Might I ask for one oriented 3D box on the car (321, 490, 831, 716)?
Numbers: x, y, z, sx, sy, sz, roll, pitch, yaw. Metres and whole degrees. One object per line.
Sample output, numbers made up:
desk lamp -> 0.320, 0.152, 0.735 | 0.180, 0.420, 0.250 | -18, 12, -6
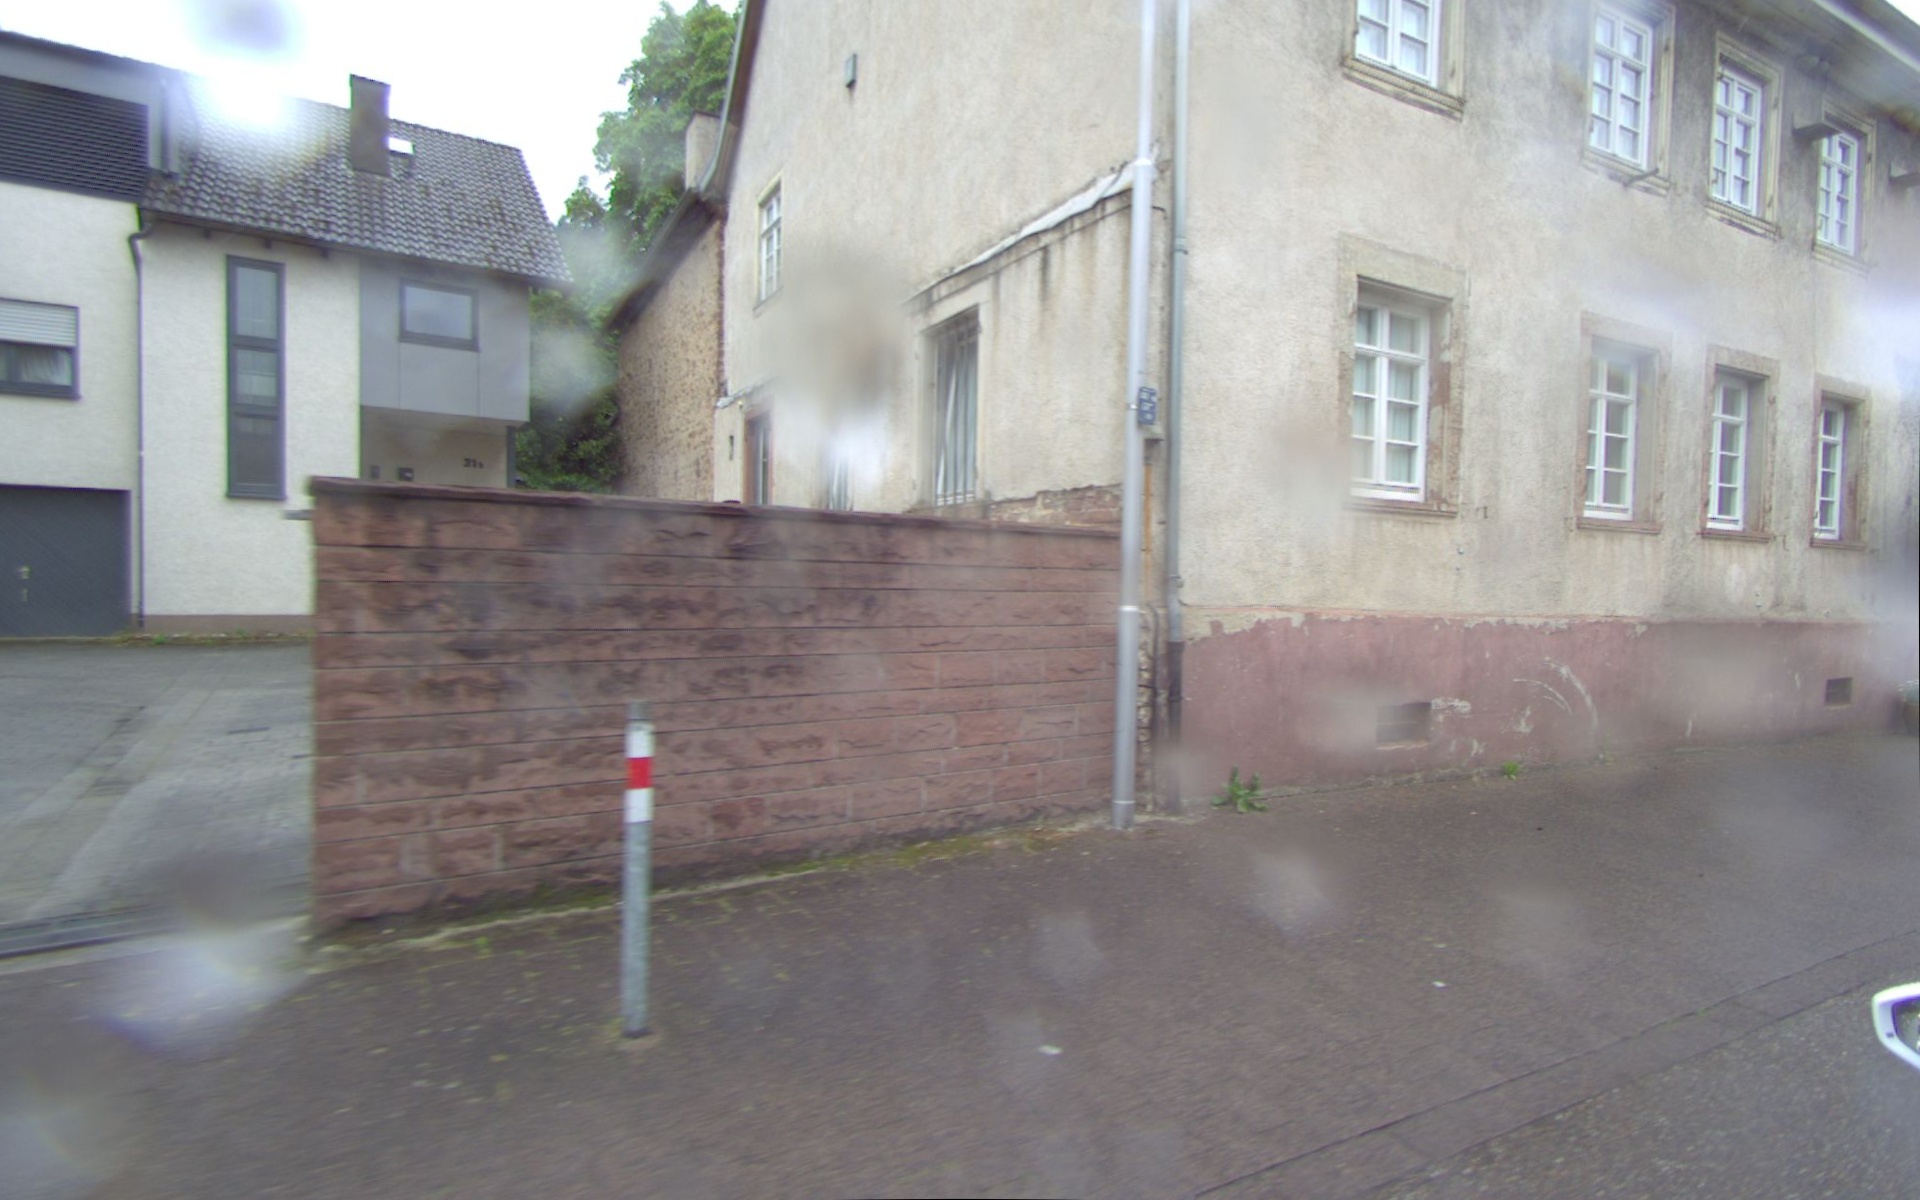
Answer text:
car -> -3.610, -0.076, 9.721 | 4.259, 1.739, 1.973 | -3, 3, -34
